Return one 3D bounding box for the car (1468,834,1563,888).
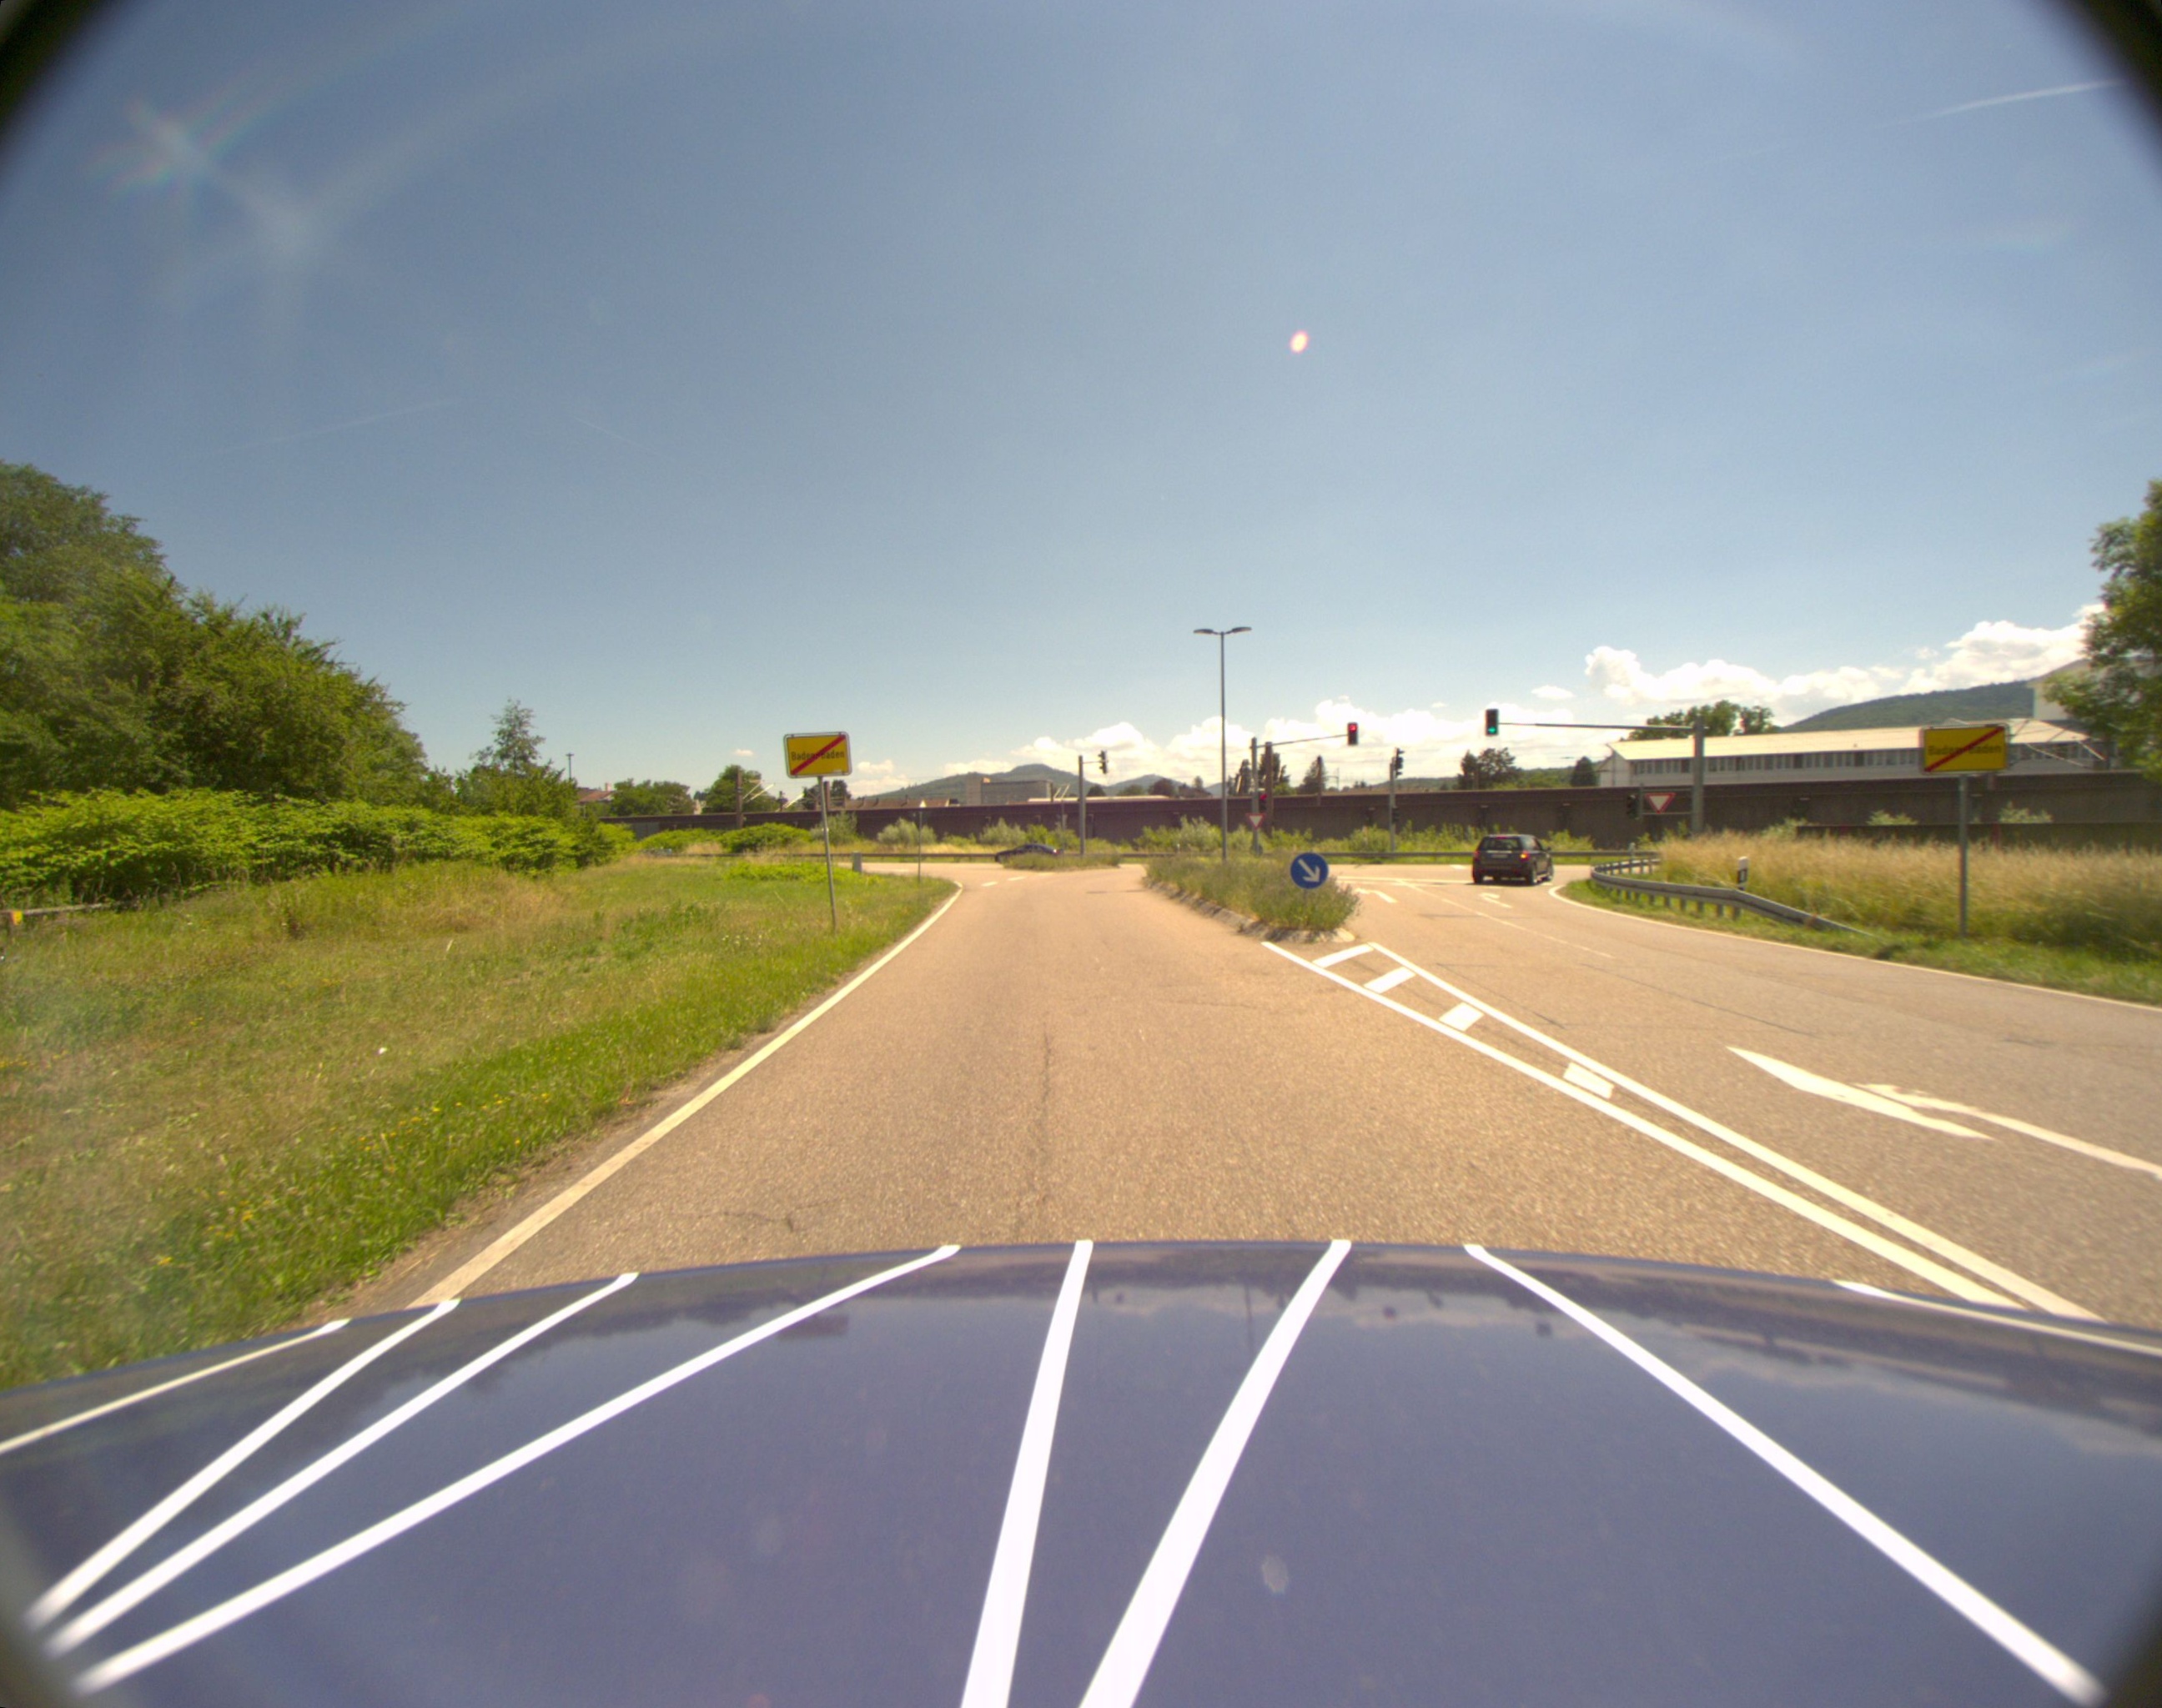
[{"bbox_3d":[15.513,0.178,27.029,1.993,1.712,4.493,3,3,41],"label":"car"}]

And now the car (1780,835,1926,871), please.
[{"bbox_3d":[31.439,-0.040,31.065,3.852,1.401,1.734,0,1,14],"label":"car"}]

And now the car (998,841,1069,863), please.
[{"bbox_3d":[-3.274,-0.156,52.079,4.507,1.446,1.791,0,1,22],"label":"car"}]

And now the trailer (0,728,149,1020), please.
[{"bbox_3d":[-10.769,0.197,6.701,1.854,2.655,3.140,-2,2,-23],"label":"trailer"}]
